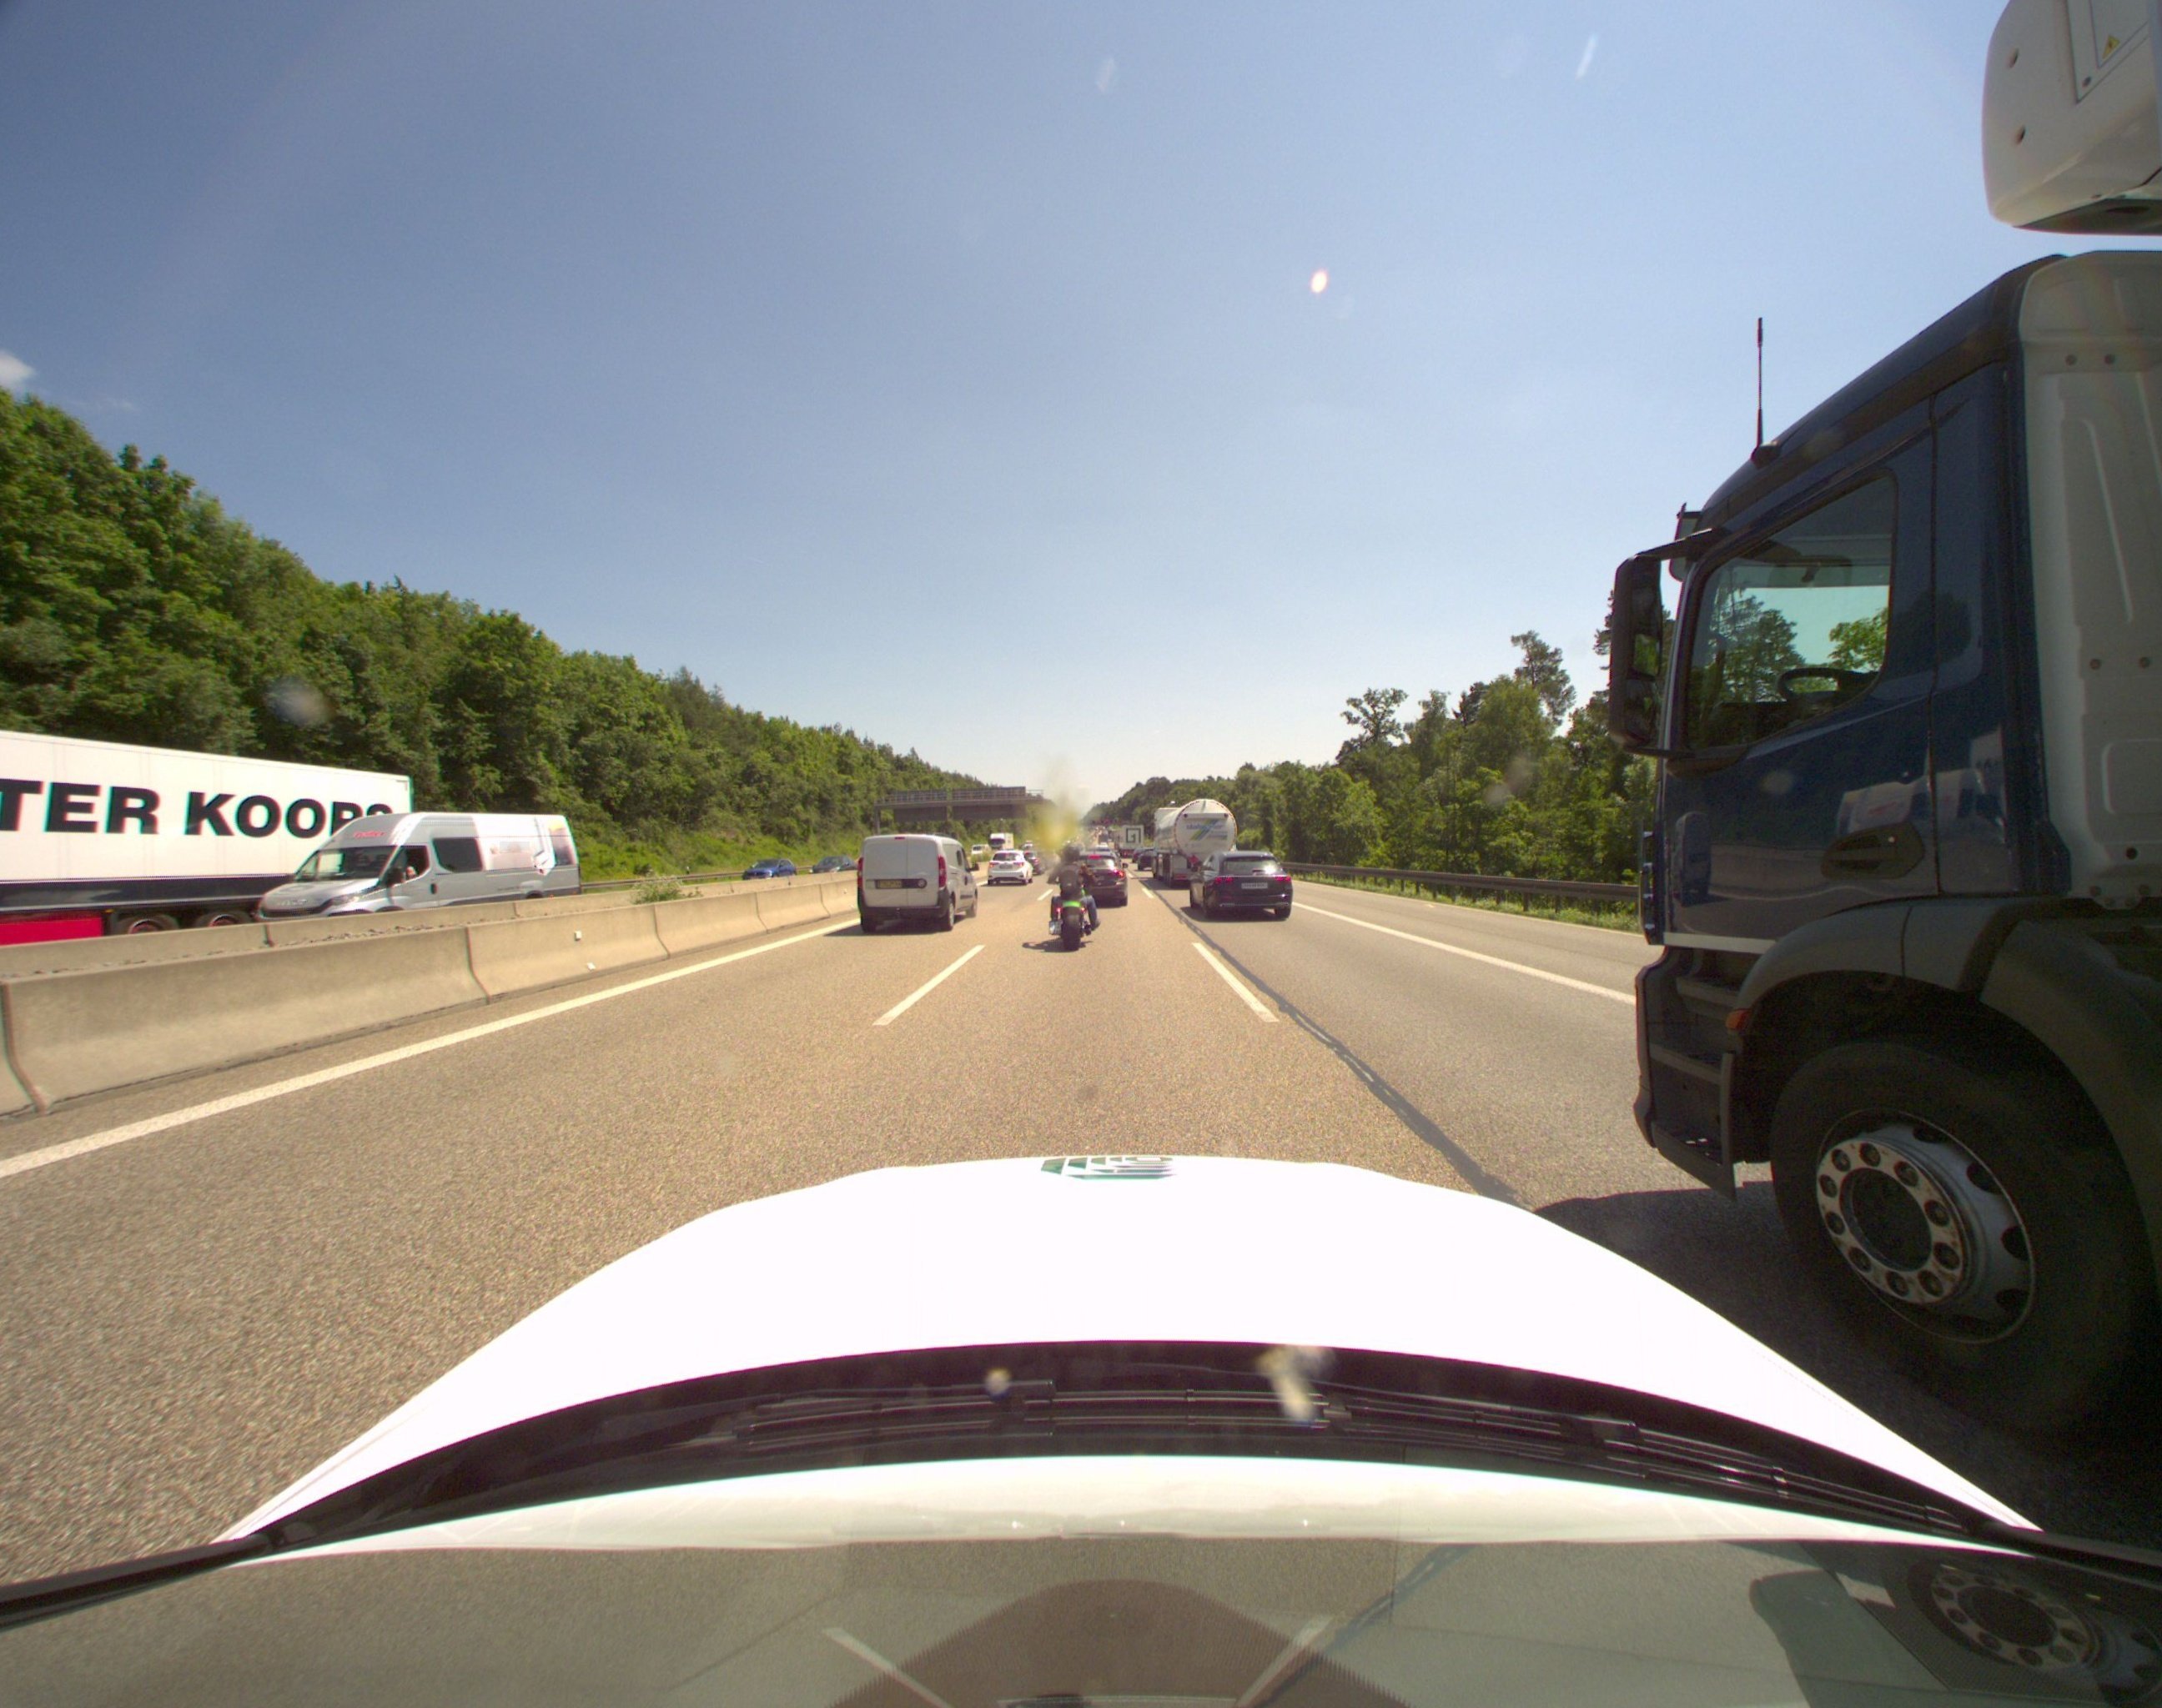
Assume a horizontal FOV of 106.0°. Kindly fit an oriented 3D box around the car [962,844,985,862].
[{"bbox_3d":[-13.225,-0.091,100.619,1.873,2.013,4.470,-5,-1,2],"label":"car"}]

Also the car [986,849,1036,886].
[{"bbox_3d":[-3.042,0.570,35.974,1.693,1.478,4.002,-2,0,2],"label":"car"}]

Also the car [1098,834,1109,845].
[{"bbox_3d":[5.511,-3.550,198.577,2.495,2.587,5.018,-2,0,2],"label":"car"}]

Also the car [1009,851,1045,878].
[{"bbox_3d":[-3.153,0.562,48.022,1.693,1.478,4.002,-2,0,2],"label":"car"}]

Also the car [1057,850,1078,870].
[{"bbox_3d":[-1.478,0.684,89.269,1.986,2.013,4.002,-4,-1,2],"label":"car"}]

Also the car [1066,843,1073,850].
[{"bbox_3d":[-3.579,-2.205,252.740,1.986,2.013,4.002,-2,0,2],"label":"car"}]

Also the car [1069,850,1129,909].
[{"bbox_3d":[0.507,0.662,23.138,1.527,1.510,4.001,-1,0,1],"label":"car"}]

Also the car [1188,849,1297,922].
[{"bbox_3d":[3.606,0.652,18.876,1.822,1.470,4.002,-1,0,2],"label":"car"}]

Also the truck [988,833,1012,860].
[{"bbox_3d":[-14.577,-1.344,147.477,2.755,4.740,10.475,-2,0,2],"label":"truck"}]

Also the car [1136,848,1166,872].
[{"bbox_3d":[4.784,0.396,56.123,1.780,1.555,3.805,-2,0,2],"label":"car"}]

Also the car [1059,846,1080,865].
[{"bbox_3d":[-1.107,0.128,80.908,1.873,1.859,4.002,-1,0,2],"label":"car"}]

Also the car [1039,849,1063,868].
[{"bbox_3d":[-2.450,0.329,66.990,1.693,1.478,4.002,-2,0,2],"label":"car"}]

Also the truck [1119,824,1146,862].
[{"bbox_3d":[6.515,-1.341,104.009,3.022,4.542,9.986,-1,0,2],"label":"truck"}]

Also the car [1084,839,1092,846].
[{"bbox_3d":[1.866,-3.116,221.198,1.986,2.013,4.002,-2,0,2],"label":"car"}]

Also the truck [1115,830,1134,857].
[{"bbox_3d":[7.636,-1.810,142.718,3.022,4.542,9.986,-1,0,2],"label":"truck"}]

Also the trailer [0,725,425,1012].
[{"bbox_3d":[-18.888,0.350,14.175,3.712,4.528,13.332,-4,-1,1],"label":"trailer"}]

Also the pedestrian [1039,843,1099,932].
[{"bbox_3d":[-0.177,0.531,13.458,0.846,1.362,0.962,-4,0,3],"label":"pedestrian"}]

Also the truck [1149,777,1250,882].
[{"bbox_3d":[4.748,-0.833,34.626,2.977,3.671,9.291,-4,-1,2],"label":"truck"}]

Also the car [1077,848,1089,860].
[{"bbox_3d":[0.422,-0.038,148.462,1.986,2.013,4.001,-4,-1,2],"label":"car"}]

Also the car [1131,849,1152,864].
[{"bbox_3d":[5.853,0.268,78.964,1.780,1.374,3.805,-2,0,2],"label":"car"}]

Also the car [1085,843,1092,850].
[{"bbox_3d":[2.255,-2.348,244.262,1.986,2.013,4.002,-1,0,2],"label":"car"}]

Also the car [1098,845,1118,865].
[{"bbox_3d":[3.011,0.144,90.798,1.986,2.013,4.001,-4,-1,2],"label":"car"}]

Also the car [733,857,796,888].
[{"bbox_3d":[-17.912,0.992,46.304,1.873,1.593,4.002,-2,0,2],"label":"car"}]

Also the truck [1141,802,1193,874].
[{"bbox_3d":[4.536,-0.768,43.690,1.988,3.522,4.749,-4,-1,-1],"label":"truck"}]

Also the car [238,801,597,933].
[{"bbox_3d":[-14.461,0.234,18.738,1.986,2.377,7.367,-2,0,2],"label":"car"}]

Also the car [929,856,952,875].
[{"bbox_3d":[-16.356,1.328,94.884,1.820,2.013,3.881,-4,-1,2],"label":"car"}]

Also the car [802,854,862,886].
[{"bbox_3d":[-13.388,0.816,44.036,1.873,1.593,4.002,-2,0,2],"label":"car"}]

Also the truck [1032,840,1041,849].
[{"bbox_3d":[-12.929,-2.758,236.027,1.986,2.500,4.001,-4,-1,2],"label":"truck"}]

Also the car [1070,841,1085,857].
[{"bbox_3d":[-0.495,-0.716,119.754,1.922,2.013,4.002,-4,-1,2],"label":"car"}]

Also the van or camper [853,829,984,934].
[{"bbox_3d":[-3.278,0.536,17.256,1.789,1.892,4.161,-2,-1,1],"label":"van or camper"}]

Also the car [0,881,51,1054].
[{"bbox_3d":[-11.036,1.099,5.933,1.680,1.607,4.127,-4,-1,2],"label":"car"}]

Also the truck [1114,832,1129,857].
[{"bbox_3d":[8.678,-2.056,175.791,3.022,5.139,9.986,-1,0,2],"label":"truck"}]

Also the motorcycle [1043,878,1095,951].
[{"bbox_3d":[-0.169,0.945,13.343,0.688,1.015,2.123,-1,0,3],"label":"motorcycle"}]
